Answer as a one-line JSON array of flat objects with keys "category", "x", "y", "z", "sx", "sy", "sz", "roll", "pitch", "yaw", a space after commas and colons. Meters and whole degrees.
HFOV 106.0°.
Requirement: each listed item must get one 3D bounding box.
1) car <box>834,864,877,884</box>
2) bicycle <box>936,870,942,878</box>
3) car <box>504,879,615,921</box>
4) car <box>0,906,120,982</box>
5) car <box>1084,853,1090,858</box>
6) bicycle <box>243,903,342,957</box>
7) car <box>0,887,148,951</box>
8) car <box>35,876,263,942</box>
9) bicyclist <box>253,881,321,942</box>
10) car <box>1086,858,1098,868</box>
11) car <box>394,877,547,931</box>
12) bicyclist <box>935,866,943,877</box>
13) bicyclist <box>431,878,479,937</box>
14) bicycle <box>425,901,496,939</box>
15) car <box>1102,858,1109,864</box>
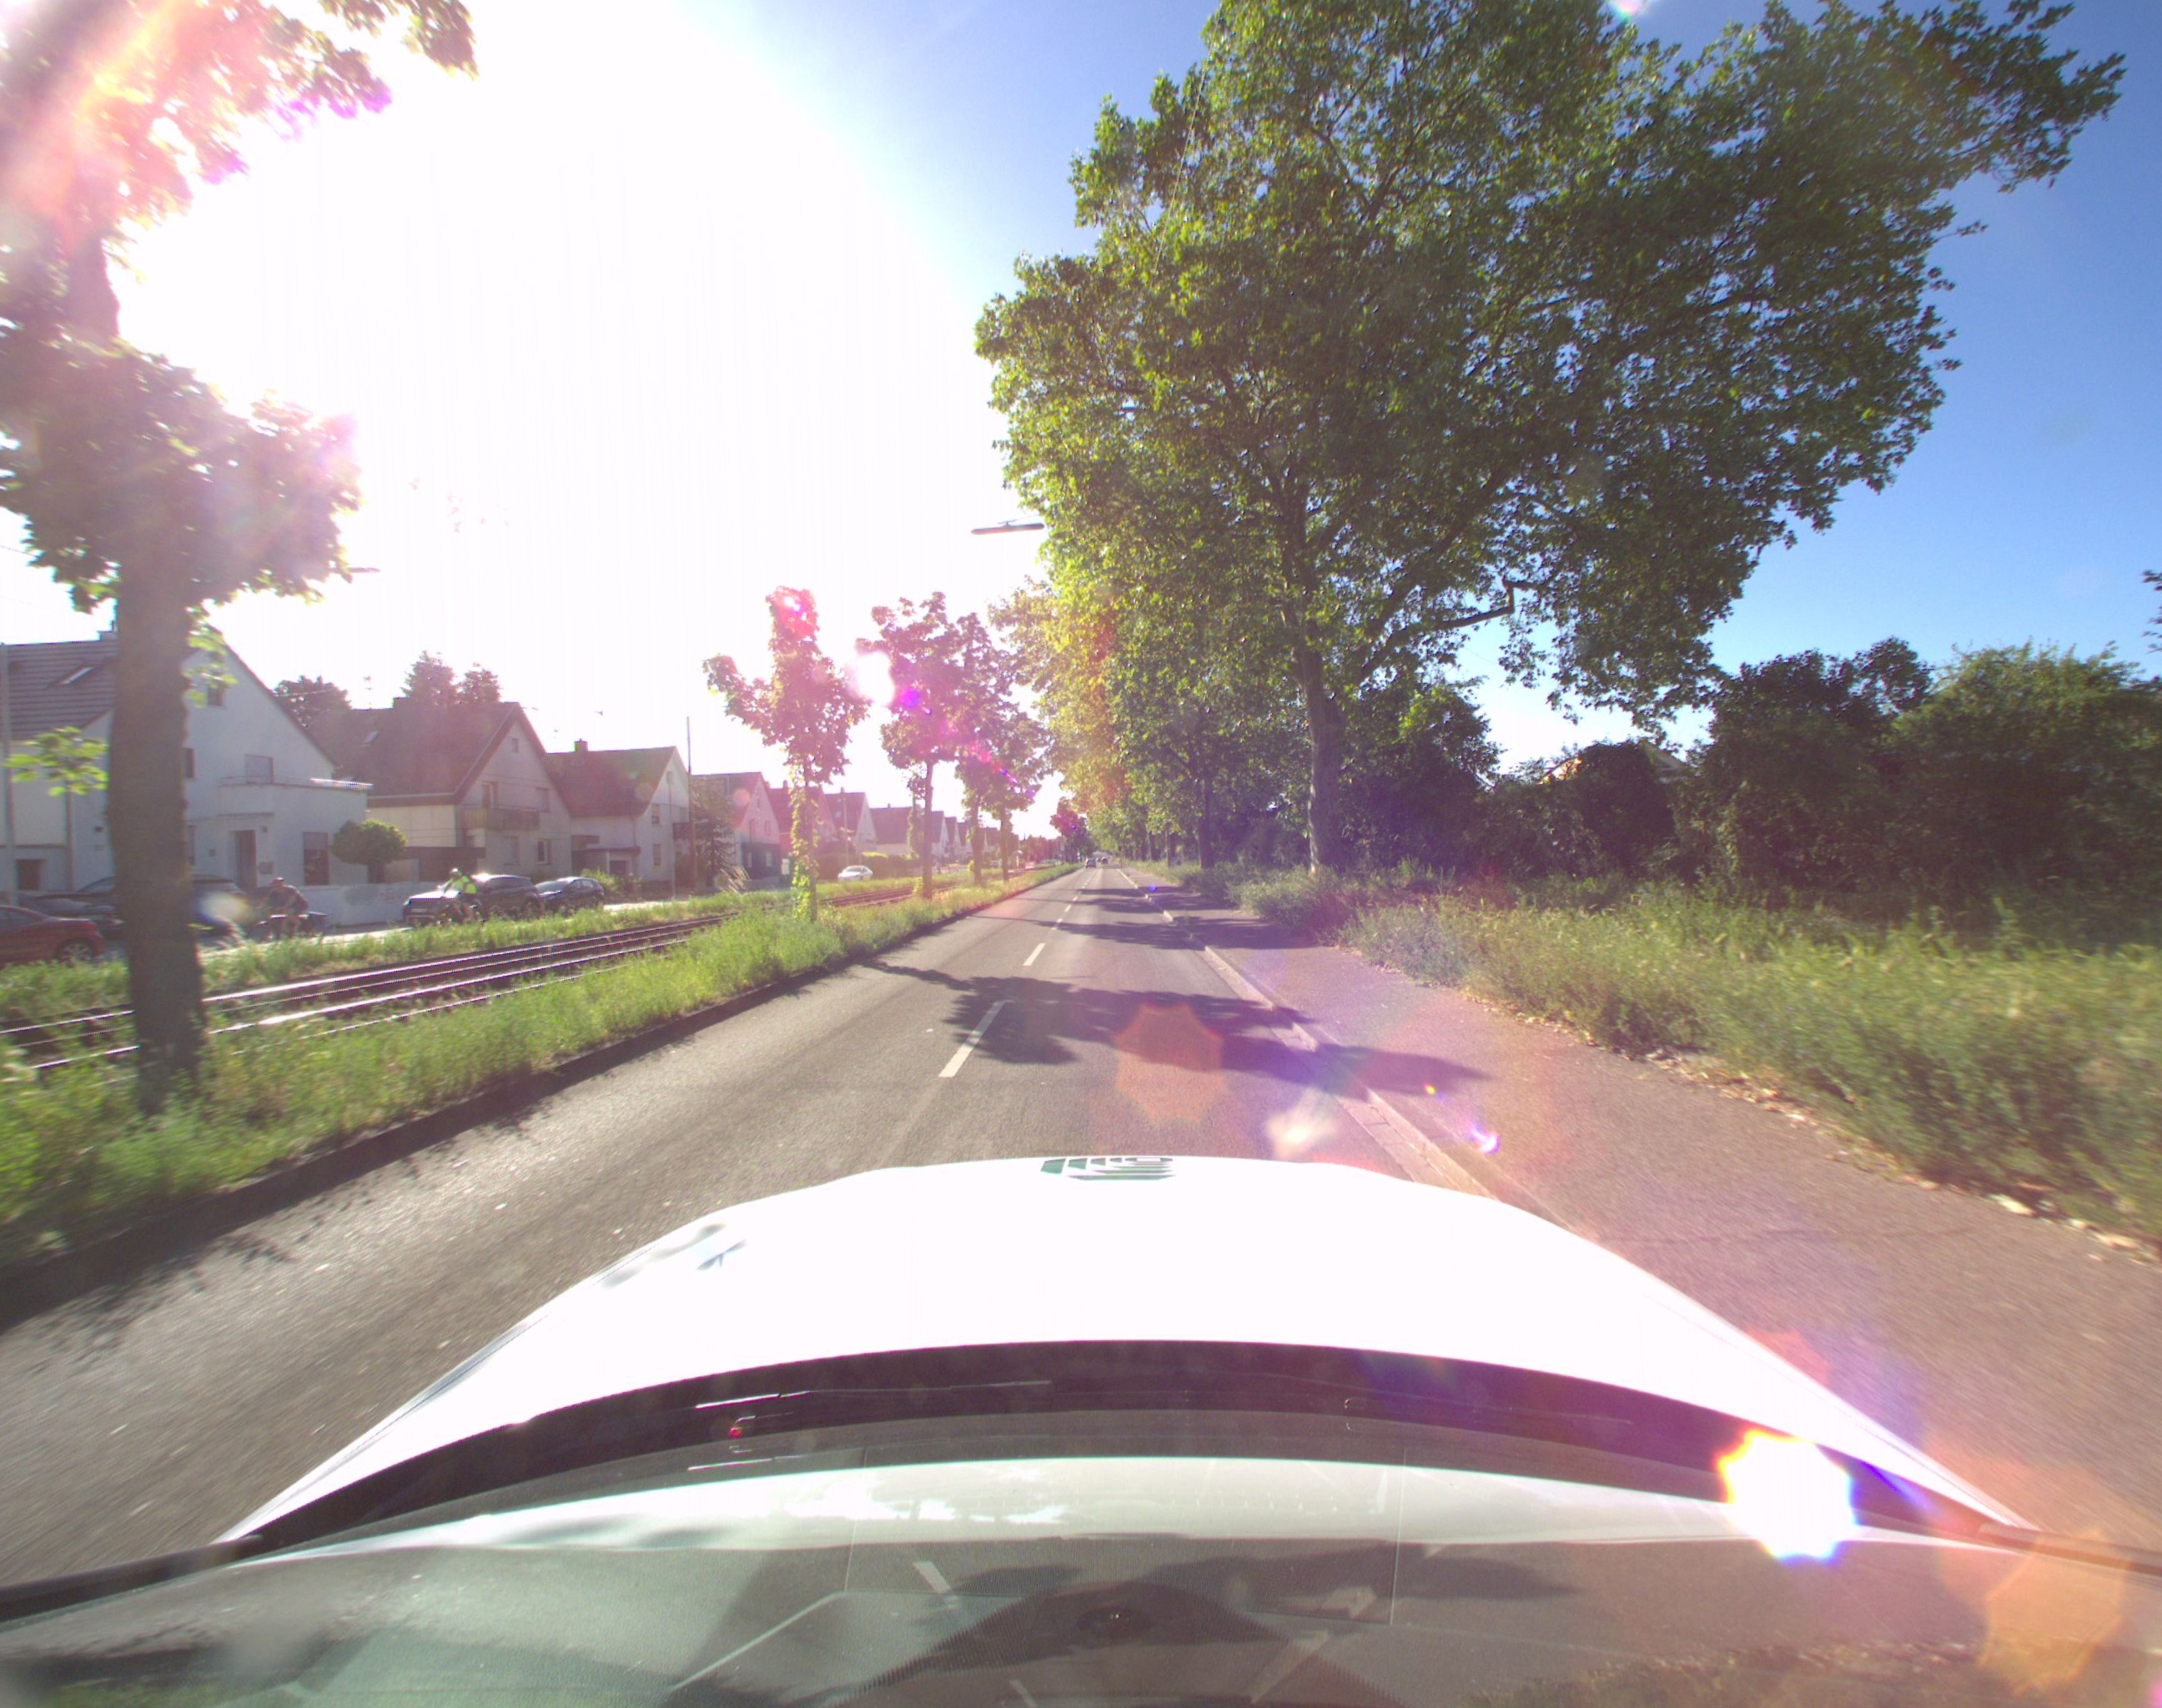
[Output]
[{"category": "car", "x": -19.541, "y": 1.721, "z": 70.734, "sx": 1.984, "sy": 1.599, "sz": 4.738, "roll": -1, "pitch": -1, "yaw": 5}, {"category": "bicycle", "x": -16.288, "y": 2.286, "z": 93.305, "sx": 0.440, "sy": 0.901, "sz": 2.059, "roll": -1, "pitch": -1, "yaw": -3}, {"category": "car", "x": -20.088, "y": 1.734, "z": 31.560, "sx": 1.608, "sy": 1.451, "sz": 3.990, "roll": -1, "pitch": -1, "yaw": 2}, {"category": "car", "x": -20.857, "y": 1.728, "z": 14.976, "sx": 1.487, "sy": 1.326, "sz": 4.003, "roll": -1, "pitch": -1, "yaw": 3}, {"category": "car", "x": 1.747, "y": 0.508, "z": 244.055, "sx": 1.521, "sy": 1.455, "sz": 3.288, "roll": -1, "pitch": -1, "yaw": 3}, {"category": "bicycle", "x": -18.348, "y": 1.745, "z": 19.013, "sx": 0.397, "sy": 1.070, "sz": 1.880, "roll": -2, "pitch": 0, "yaw": 2}, {"category": "car", "x": -26.479, "y": 1.607, "z": 20.240, "sx": 4.202, "sy": 1.463, "sz": 1.936, "roll": -1, "pitch": -1, "yaw": -3}, {"category": "car", "x": -26.167, "y": 1.516, "z": 23.008, "sx": 3.977, "sy": 1.669, "sz": 1.998, "roll": -1, "pitch": -1, "yaw": -3}, {"category": "bicyclist", "x": -18.480, "y": 1.320, "z": 18.979, "sx": 0.686, "sy": 1.337, "sz": 0.882, "roll": -2, "pitch": -1, "yaw": 1}, {"category": "car", "x": 1.724, "y": 1.367, "z": 124.536, "sx": 1.732, "sy": 1.401, "sz": 3.277, "roll": -1, "pitch": -1, "yaw": 1}, {"category": "car", "x": -20.263, "y": 1.598, "z": 27.298, "sx": 1.637, "sy": 1.568, "sz": 4.389, "roll": -1, "pitch": -1, "yaw": 3}, {"category": "bicyclist", "x": -16.266, "y": 2.022, "z": 93.388, "sx": 0.797, "sy": 1.278, "sz": 0.736, "roll": -1, "pitch": -1, "yaw": -3}, {"category": "bicyclist", "x": -18.251, "y": 1.554, "z": 23.757, "sx": 0.686, "sy": 1.652, "sz": 0.882, "roll": -2, "pitch": -1, "yaw": 1}, {"category": "bicycle", "x": -18.200, "y": 1.916, "z": 23.940, "sx": 0.397, "sy": 0.927, "sz": 2.097, "roll": -2, "pitch": 0, "yaw": 2}, {"category": "car", "x": 5.798, "y": 1.636, "z": 192.541, "sx": 1.754, "sy": 1.513, "sz": 3.278, "roll": -1, "pitch": -1, "yaw": 2}]
